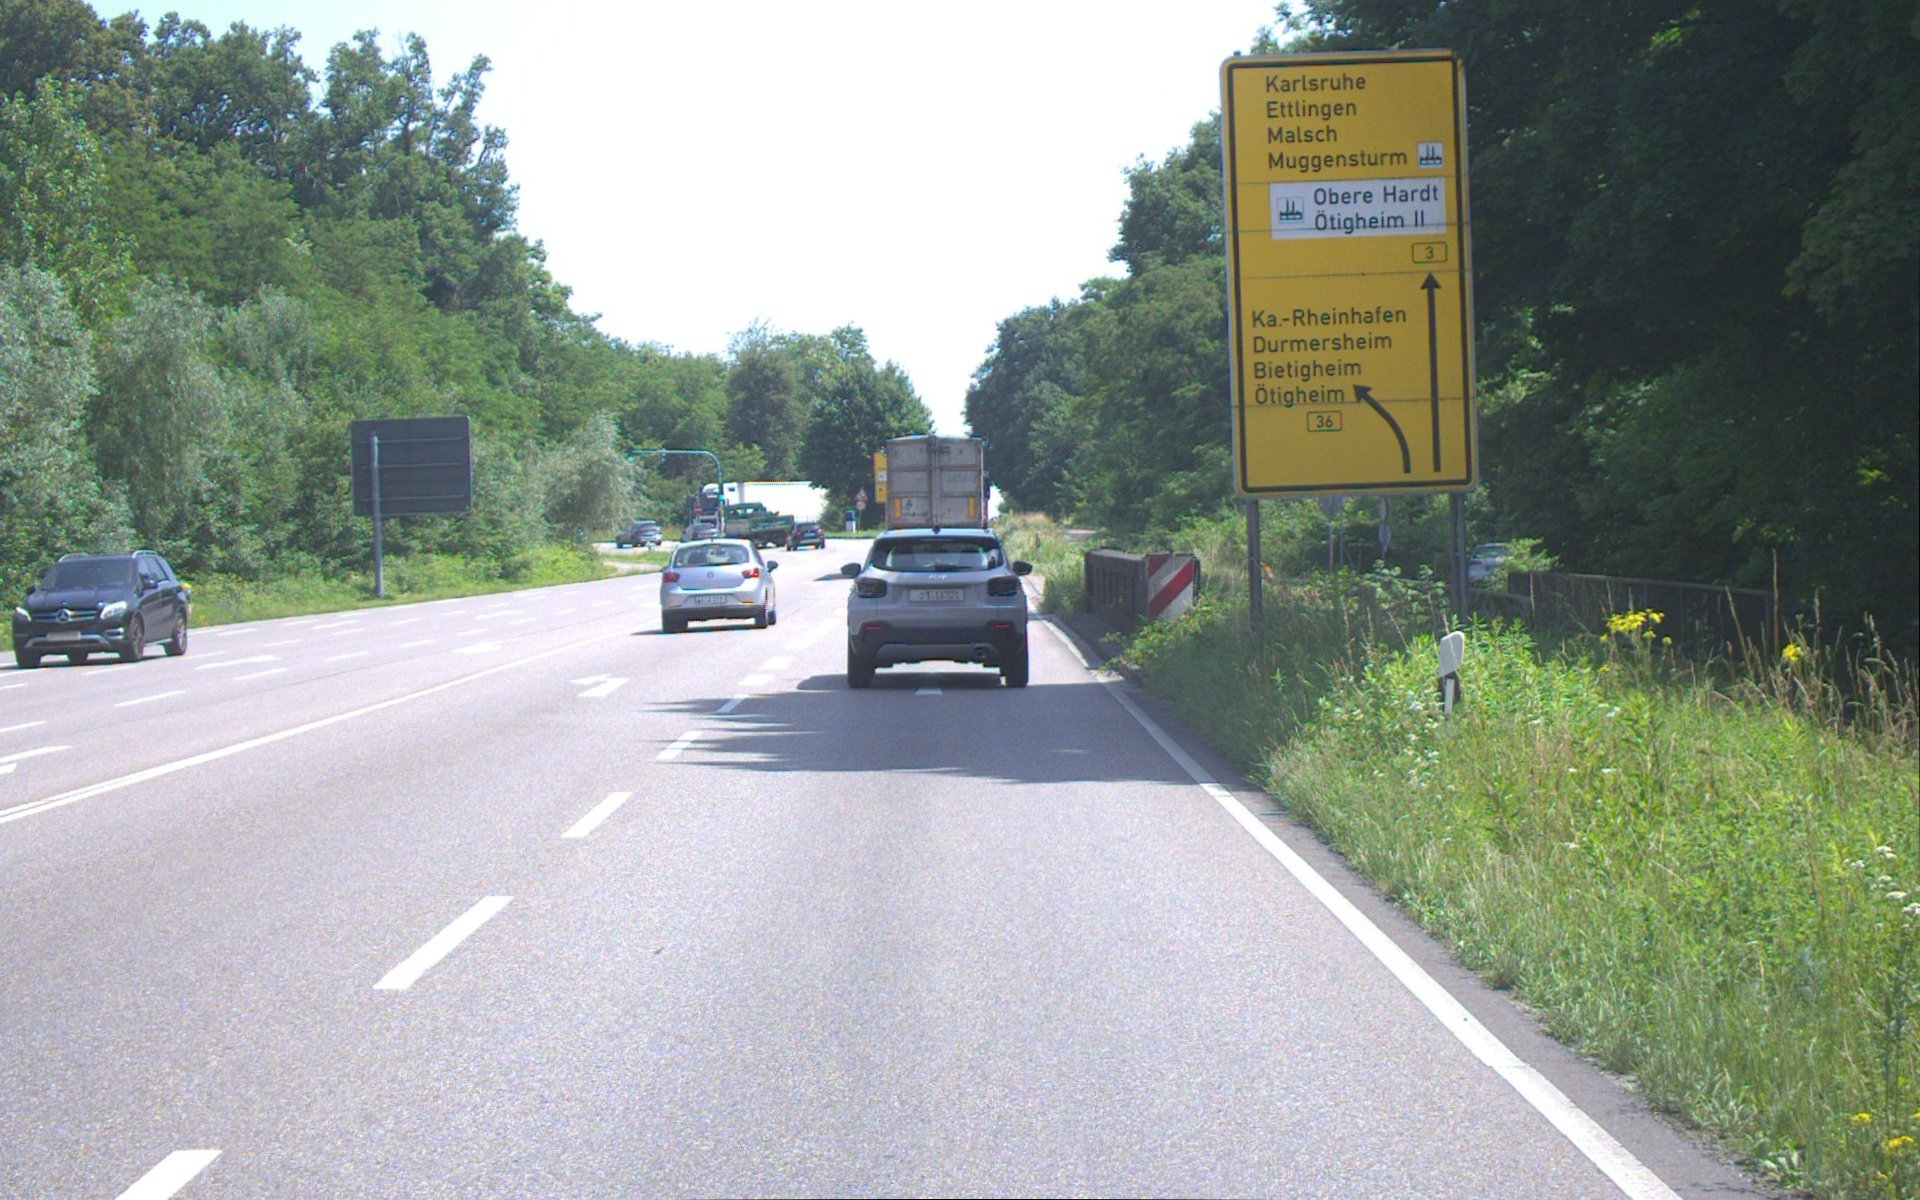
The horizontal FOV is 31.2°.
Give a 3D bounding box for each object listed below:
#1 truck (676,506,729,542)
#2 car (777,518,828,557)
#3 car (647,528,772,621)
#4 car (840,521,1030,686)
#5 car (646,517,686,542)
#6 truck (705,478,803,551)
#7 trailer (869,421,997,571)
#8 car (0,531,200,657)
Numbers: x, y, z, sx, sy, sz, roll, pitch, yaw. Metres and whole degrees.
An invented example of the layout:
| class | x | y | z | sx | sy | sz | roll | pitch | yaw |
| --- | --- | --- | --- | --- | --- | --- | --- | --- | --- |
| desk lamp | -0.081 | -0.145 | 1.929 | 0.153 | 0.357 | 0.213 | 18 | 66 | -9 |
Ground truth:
| class | x | y | z | sx | sy | sz | roll | pitch | yaw |
| --- | --- | --- | --- | --- | --- | --- | --- | --- | --- |
| truck | -15.971 | -4.675 | 213.067 | 2.134 | 2.189 | 4.658 | -1 | 1 | -19 |
| car | -8.344 | -3.299 | 182.126 | 1.993 | 2.007 | 4.555 | -3 | 1 | -11 |
| car | -3.976 | -0.432 | 54.983 | 1.666 | 1.425 | 3.828 | 0 | 1 | 1 |
| car | -0.210 | -0.015 | 34.632 | 1.767 | 1.529 | 4.000 | -1 | 1 | 1 |
| car | -19.084 | -4.535 | 222.897 | 1.993 | 1.579 | 4.001 | -1 | 1 | -14 |
| truck | -11.944 | -4.861 | 198.075 | 3.645 | 4.091 | 9.512 | -1 | 1 | -16 |
| trailer | -0.700 | -2.845 | 96.811 | 3.382 | 3.975 | 10.804 | 0 | 1 | 0 |
| car | -13.947 | -0.136 | 56.022 | 1.993 | 1.875 | 4.960 | -2 | 1 | -1 |
